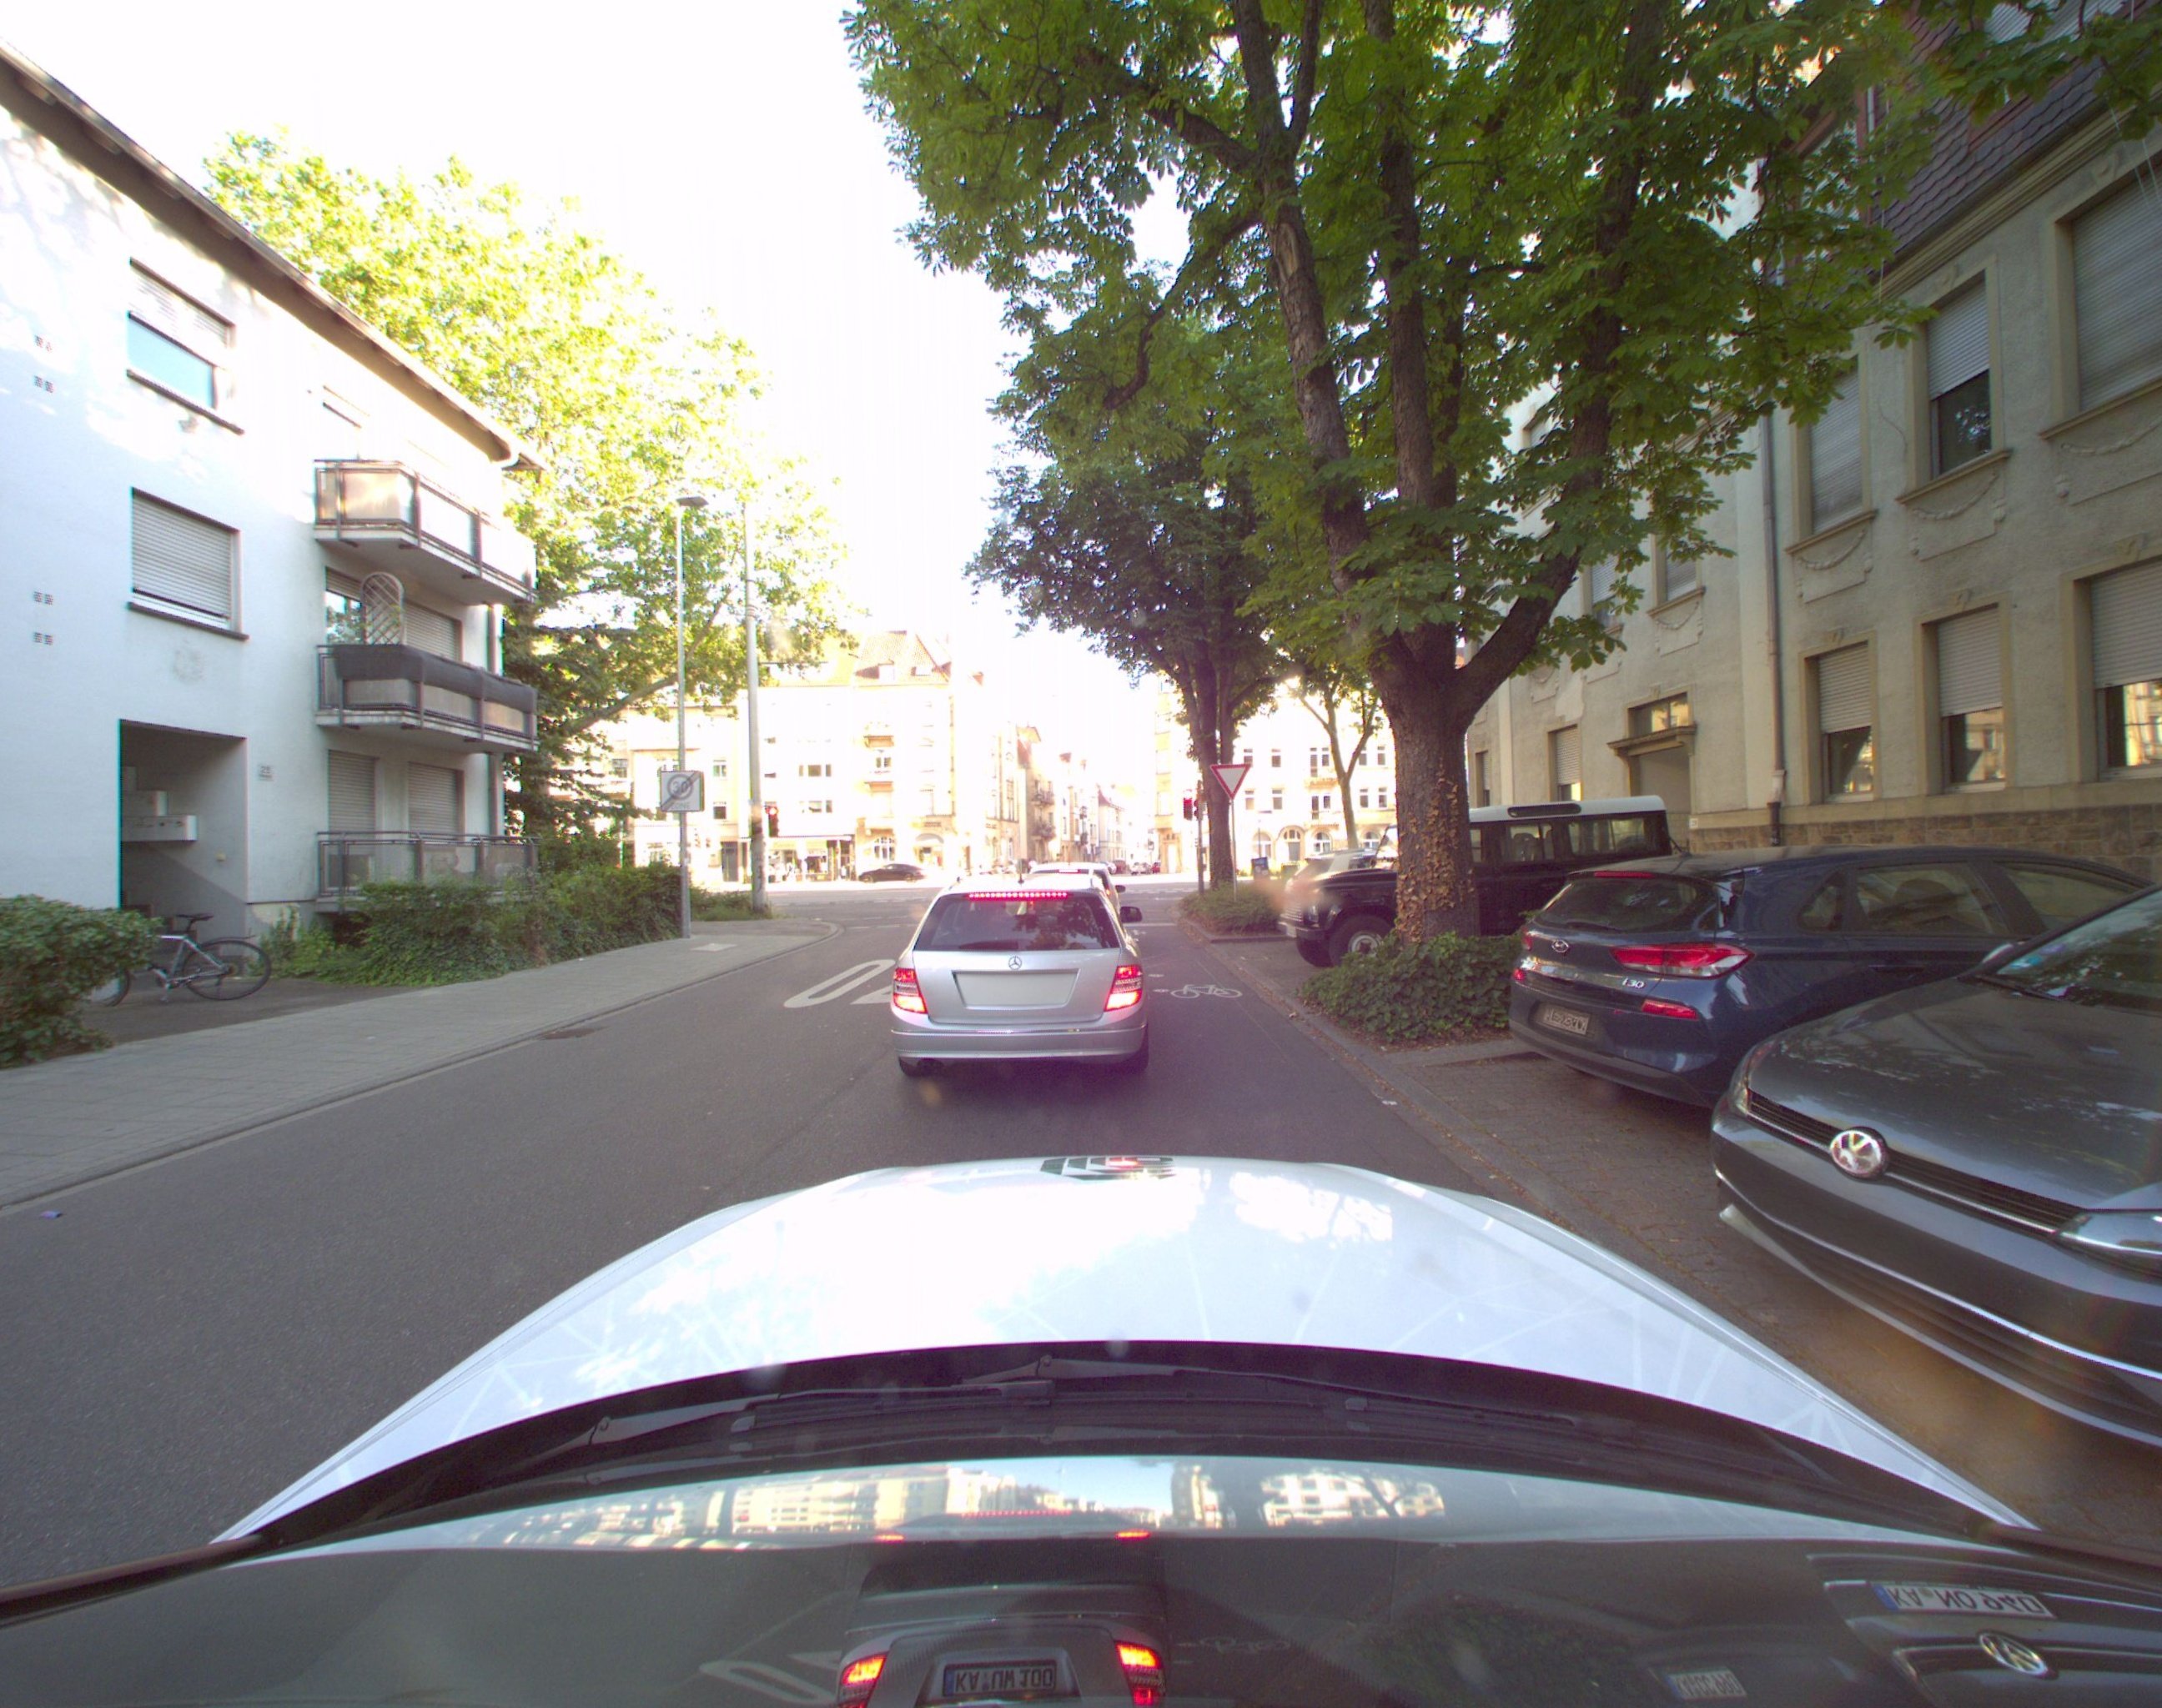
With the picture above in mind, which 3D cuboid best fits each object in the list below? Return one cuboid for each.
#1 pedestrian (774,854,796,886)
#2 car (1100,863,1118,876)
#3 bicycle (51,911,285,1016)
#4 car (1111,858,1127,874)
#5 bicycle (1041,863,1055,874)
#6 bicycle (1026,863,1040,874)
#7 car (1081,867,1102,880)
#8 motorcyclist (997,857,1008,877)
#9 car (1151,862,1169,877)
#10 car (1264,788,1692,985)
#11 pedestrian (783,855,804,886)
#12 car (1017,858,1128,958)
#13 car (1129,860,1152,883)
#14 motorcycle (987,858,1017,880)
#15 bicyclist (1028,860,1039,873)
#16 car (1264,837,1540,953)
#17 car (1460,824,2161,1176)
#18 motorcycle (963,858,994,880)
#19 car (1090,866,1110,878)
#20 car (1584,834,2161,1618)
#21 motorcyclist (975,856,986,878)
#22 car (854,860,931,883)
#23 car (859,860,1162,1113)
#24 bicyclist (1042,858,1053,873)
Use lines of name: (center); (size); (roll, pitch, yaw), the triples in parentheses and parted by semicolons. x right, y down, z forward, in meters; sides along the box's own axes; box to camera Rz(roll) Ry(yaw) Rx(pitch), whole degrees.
pedestrian: (-23.339, 1.265, 64.291); (1.343, 2.464, 1.059); (-1, 0, -3)
car: (3.707, 2.064, 108.844); (1.824, 1.663, 4.012); (-1, 0, 10)
bicycle: (-9.997, 1.162, 9.012); (1.630, 1.008, 0.511); (2, -2, -39)
car: (5.481, 1.716, 117.403); (1.776, 2.204, 4.012); (-1, 0, 10)
bicycle: (-3.003, 1.318, 73.707); (0.765, 0.934, 1.947); (-1, 0, 13)
bicycle: (-4.325, 1.335, 73.651); (0.765, 0.940, 1.947); (-1, 0, 13)
car: (1.325, 2.299, 97.168); (1.824, 1.402, 4.012); (-1, 0, 10)
motorcyclist: (-5.555, 0.919, 57.698); (0.679, 1.452, 0.568); (-2, 0, -2)
car: (9.876, 1.906, 101.862); (1.824, 1.744, 4.012); (-1, 0, 10)
car: (4.738, 0.367, 10.133); (4.453, 2.036, 1.700); (-3, -1, -2)
pedestrian: (-23.111, 1.286, 65.517); (1.343, 2.464, 1.059); (-1, 0, -3)
car: (-0.110, 0.813, 14.175); (1.614, 1.447, 4.344); (-1, 0, 0)
car: (6.305, 1.814, 85.906); (2.018, 2.279, 4.012); (-1, 0, 10)
motorcycle: (-5.579, 1.076, 57.695); (2.028, 1.452, 0.568); (-2, 0, -3)
bicyclist: (-4.308, 1.113, 73.730); (0.765, 1.156, 0.755); (-1, 0, 13)
car: (5.028, 0.617, 13.093); (3.714, 1.570, 1.707); (-3, -1, -2)
car: (4.395, 0.634, 4.559); (3.714, 1.452, 1.707); (-3, -1, -2)
motorcycle: (-7.029, 1.049, 56.097); (2.028, 1.452, 0.568); (-2, 0, -3)
car: (2.396, 2.252, 102.638); (1.824, 1.402, 4.012); (-1, 0, 10)
car: (4.030, 0.650, 2.388); (4.042, 1.452, 1.722); (-3, -1, -2)
motorcyclist: (-6.898, 0.892, 56.105); (0.679, 1.452, 0.568); (-2, 0, -2)
car: (-13.024, 1.206, 56.472); (4.871, 1.452, 1.857); (-1, 0, -2)
car: (-0.405, 0.796, 7.087); (1.771, 1.452, 4.547); (-1, 0, 0)
bicyclist: (-3.007, 1.024, 73.710); (0.765, 1.290, 0.755); (-1, 0, 13)
